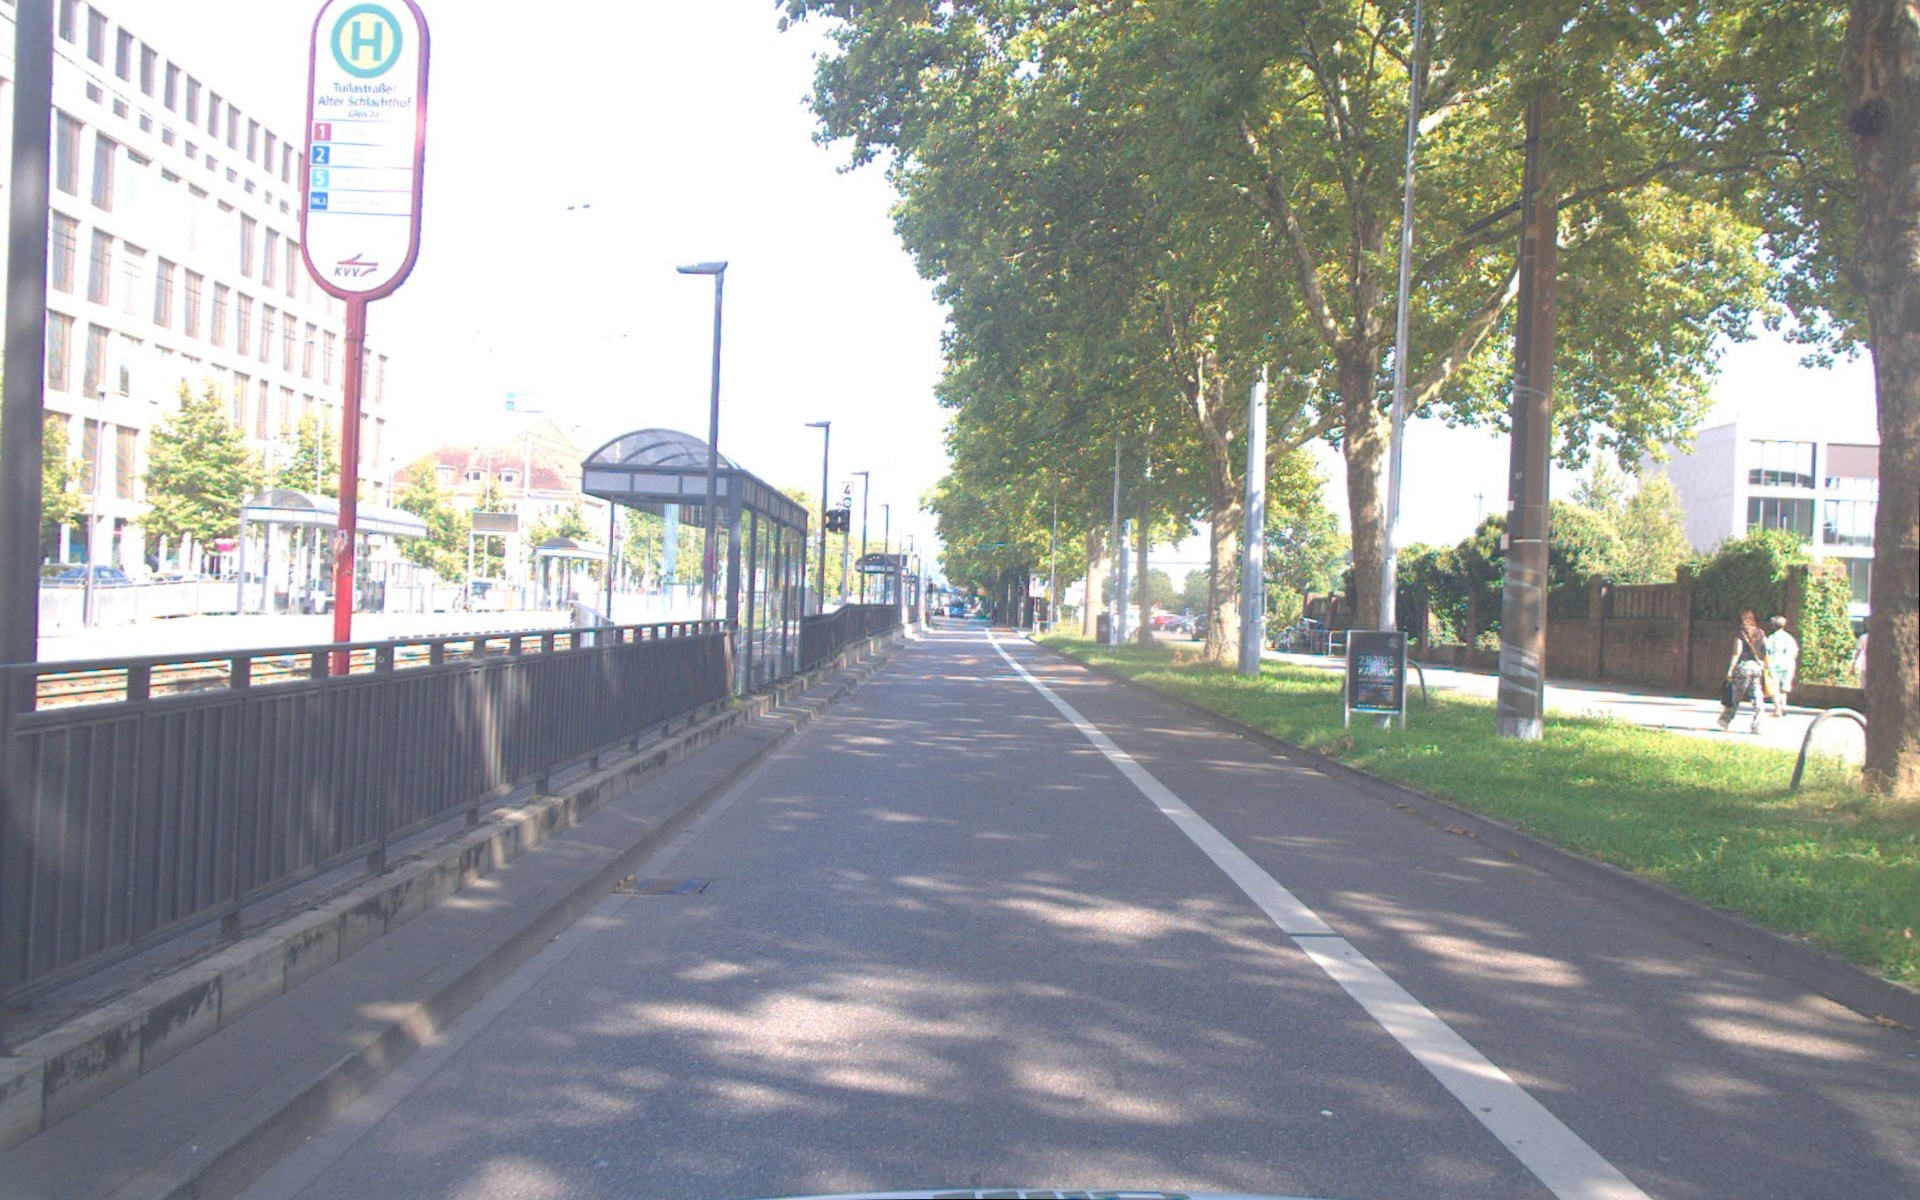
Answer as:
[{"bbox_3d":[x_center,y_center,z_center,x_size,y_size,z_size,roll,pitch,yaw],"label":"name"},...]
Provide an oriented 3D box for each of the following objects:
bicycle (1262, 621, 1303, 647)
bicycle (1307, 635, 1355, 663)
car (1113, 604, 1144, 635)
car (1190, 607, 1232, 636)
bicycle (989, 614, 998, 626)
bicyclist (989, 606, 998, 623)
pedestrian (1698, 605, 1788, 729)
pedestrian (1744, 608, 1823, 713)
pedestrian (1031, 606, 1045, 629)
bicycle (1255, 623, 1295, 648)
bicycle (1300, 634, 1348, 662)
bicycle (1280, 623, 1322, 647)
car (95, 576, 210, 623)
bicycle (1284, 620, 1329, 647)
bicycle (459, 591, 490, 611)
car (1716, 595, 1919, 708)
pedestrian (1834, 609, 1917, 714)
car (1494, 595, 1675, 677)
[{"bbox_3d":[12.697,1.332,65.224,0.502,0.986,1.636,1,0,-41],"label":"bicycle"},{"bbox_3d":[13.140,1.733,58.602,1.622,0.986,0.506,0,0,1],"label":"bicycle"},{"bbox_3d":[11.904,1.387,116.854,1.686,2.084,4.461,2,0,0],"label":"car"},{"bbox_3d":[15.811,1.339,103.917,1.687,1.708,4.248,2,0,21],"label":"car"},{"bbox_3d":[3.127,1.858,153.155,0.700,1.127,2.509,3,-1,0],"label":"bicycle"},{"bbox_3d":[3.080,1.323,153.062,0.691,1.486,1.009,3,-1,0],"label":"bicyclist"},{"bbox_3d":[10.770,0.899,22.774,0.789,1.665,0.947,1,0,0],"label":"pedestrian"},{"bbox_3d":[13.120,0.955,26.359,0.789,1.632,0.947,1,0,0],"label":"pedestrian"},{"bbox_3d":[5.635,1.269,119.841,0.614,1.645,0.841,1,0,37],"label":"pedestrian"},{"bbox_3d":[12.597,1.409,66.145,0.502,0.986,1.636,1,0,-41],"label":"bicycle"},{"bbox_3d":[13.134,1.713,59.676,1.621,0.986,0.506,0,0,5],"label":"bicycle"},{"bbox_3d":[13.833,1.415,67.088,1.622,0.986,0.506,0,0,2],"label":"bicycle"},{"bbox_3d":[-25.728,-0.005,52.843,1.609,1.401,4.222,2,0,-1],"label":"car"},{"bbox_3d":[13.136,1.270,62.791,1.621,0.986,0.506,0,0,5],"label":"bicycle"},{"bbox_3d":[-16.933,0.053,57.672,0.467,0.674,1.614,2,0,4],"label":"bicycle"},{"bbox_3d":[20.390,1.199,38.523,4.567,2.358,2.055,3,-1,0],"label":"car"},{"bbox_3d":[14.484,0.958,26.200,0.789,1.632,0.947,1,0,0],"label":"pedestrian"},{"bbox_3d":[20.111,1.143,53.424,5.024,2.410,2.131,2,0,3],"label":"car"}]
